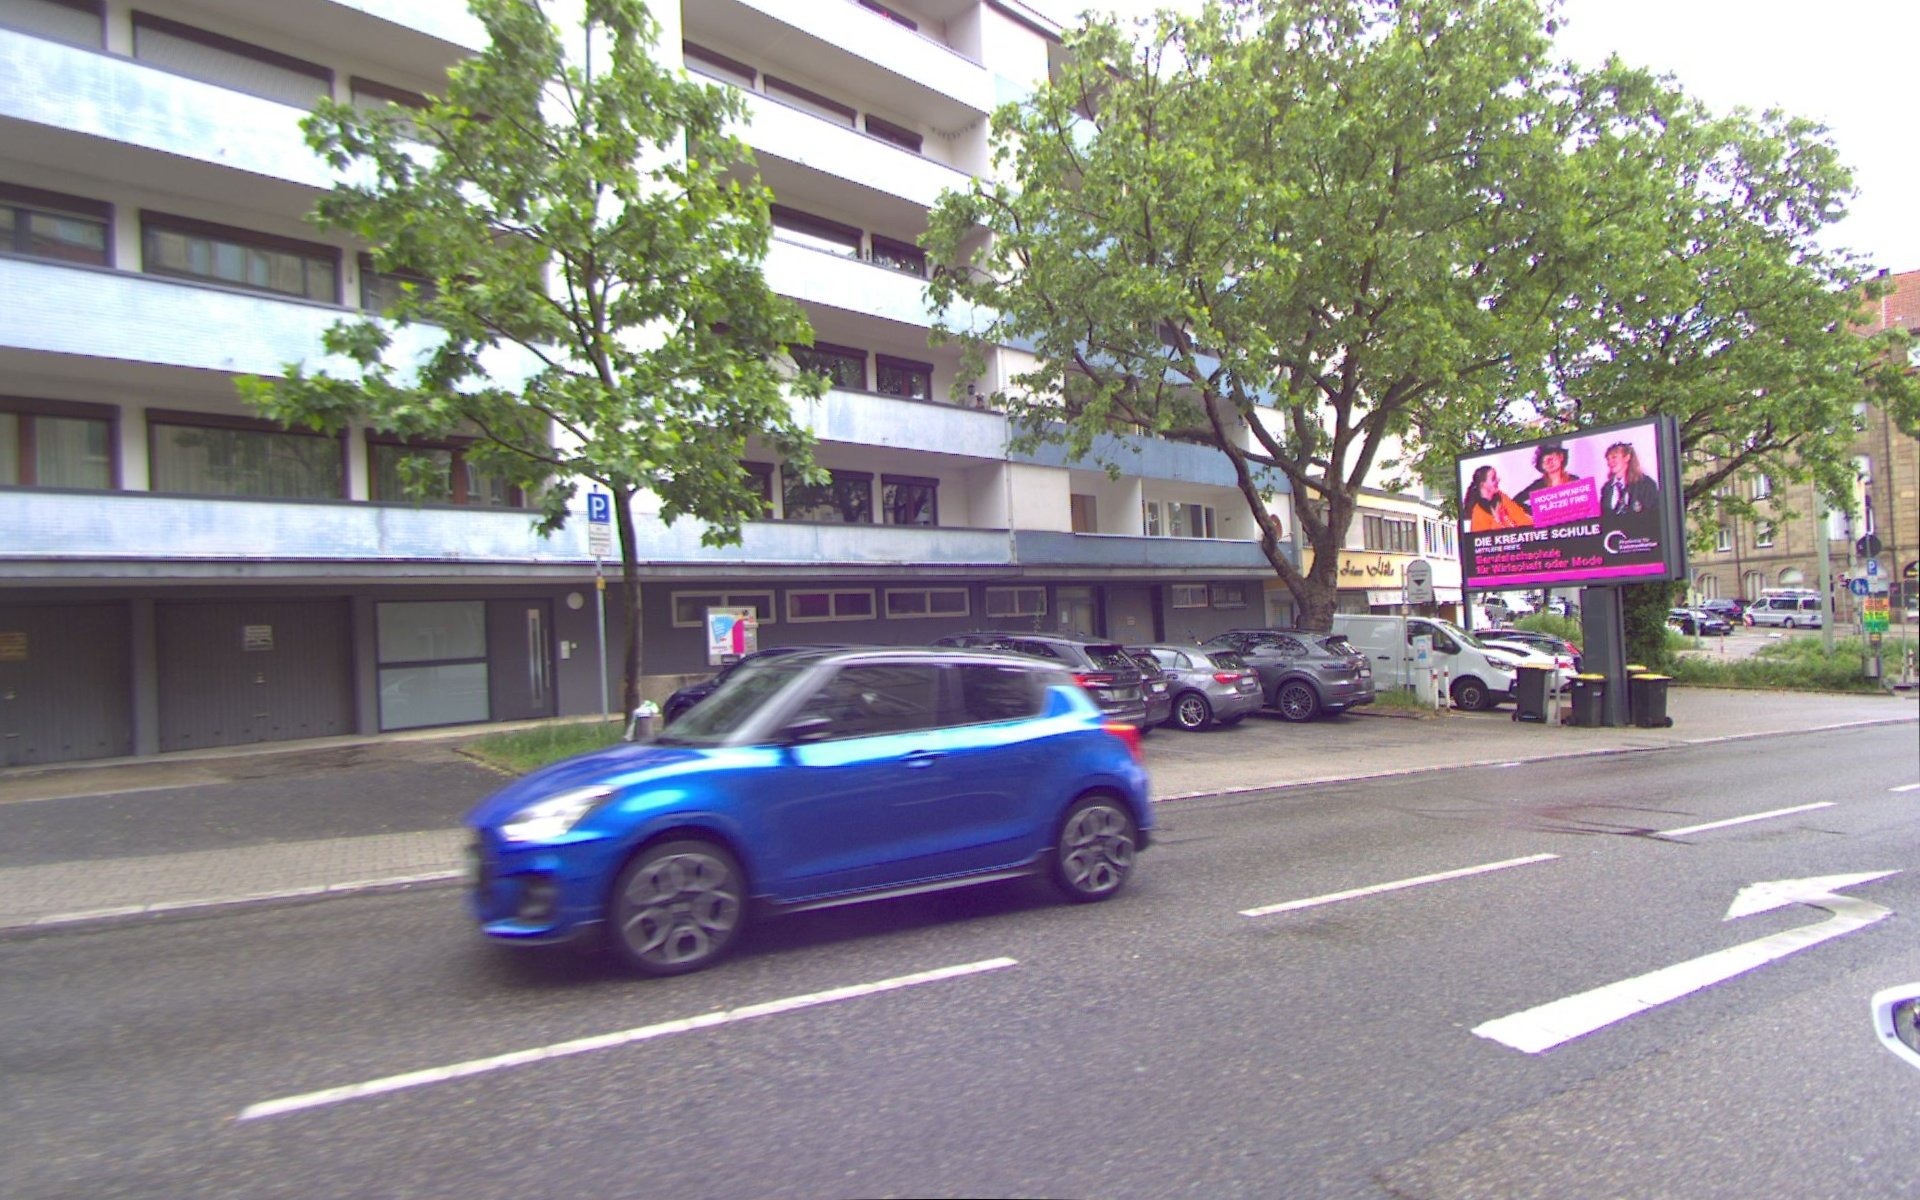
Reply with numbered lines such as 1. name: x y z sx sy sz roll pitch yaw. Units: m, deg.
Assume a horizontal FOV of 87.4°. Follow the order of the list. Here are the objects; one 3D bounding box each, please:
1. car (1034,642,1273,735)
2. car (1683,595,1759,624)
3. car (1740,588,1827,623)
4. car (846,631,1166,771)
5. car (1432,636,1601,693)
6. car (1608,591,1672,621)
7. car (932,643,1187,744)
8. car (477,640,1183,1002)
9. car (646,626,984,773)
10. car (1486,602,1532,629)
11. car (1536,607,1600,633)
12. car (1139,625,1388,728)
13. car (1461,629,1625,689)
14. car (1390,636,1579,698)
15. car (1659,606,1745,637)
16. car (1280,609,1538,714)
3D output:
1. car: 3.429 1.504 18.085 3.870 1.449 1.742 -1 -2 36
2. car: 51.914 0.621 68.622 1.961 1.863 4.291 -1 1 -1
3. car: 52.065 0.333 63.615 1.961 2.130 4.291 -1 1 -1
4. car: 0.549 1.341 14.340 4.312 1.694 1.847 -3 -3 39
5. car: 15.656 1.781 28.370 3.926 1.469 1.761 -1 -2 40
6. car: 51.432 0.412 76.079 1.961 2.130 4.291 -1 1 -1
7. car: 1.598 1.463 16.695 3.929 1.449 1.692 -1 -2 36
8. car: -0.689 1.028 5.855 3.700 1.469 1.707 1 -6 -31
9. car: -1.983 1.189 13.041 4.303 1.595 1.935 -3 -3 39
10. car: 43.152 1.241 79.026 1.545 2.040 4.001 0 -1 2
11. car: 43.216 1.390 71.515 1.961 1.749 4.250 -2 -1 0
12. car: 5.894 1.412 19.755 4.305 1.807 1.930 -1 -2 40
13. car: 17.398 1.712 30.062 4.072 1.675 1.762 -1 -2 38
14. car: 13.758 1.715 26.472 4.122 1.475 1.786 -1 -2 40
15. car: 43.225 1.225 58.615 1.960 1.749 4.250 -1 0 2
16. car: 10.054 1.313 22.735 5.001 2.133 1.983 -1 -2 40
